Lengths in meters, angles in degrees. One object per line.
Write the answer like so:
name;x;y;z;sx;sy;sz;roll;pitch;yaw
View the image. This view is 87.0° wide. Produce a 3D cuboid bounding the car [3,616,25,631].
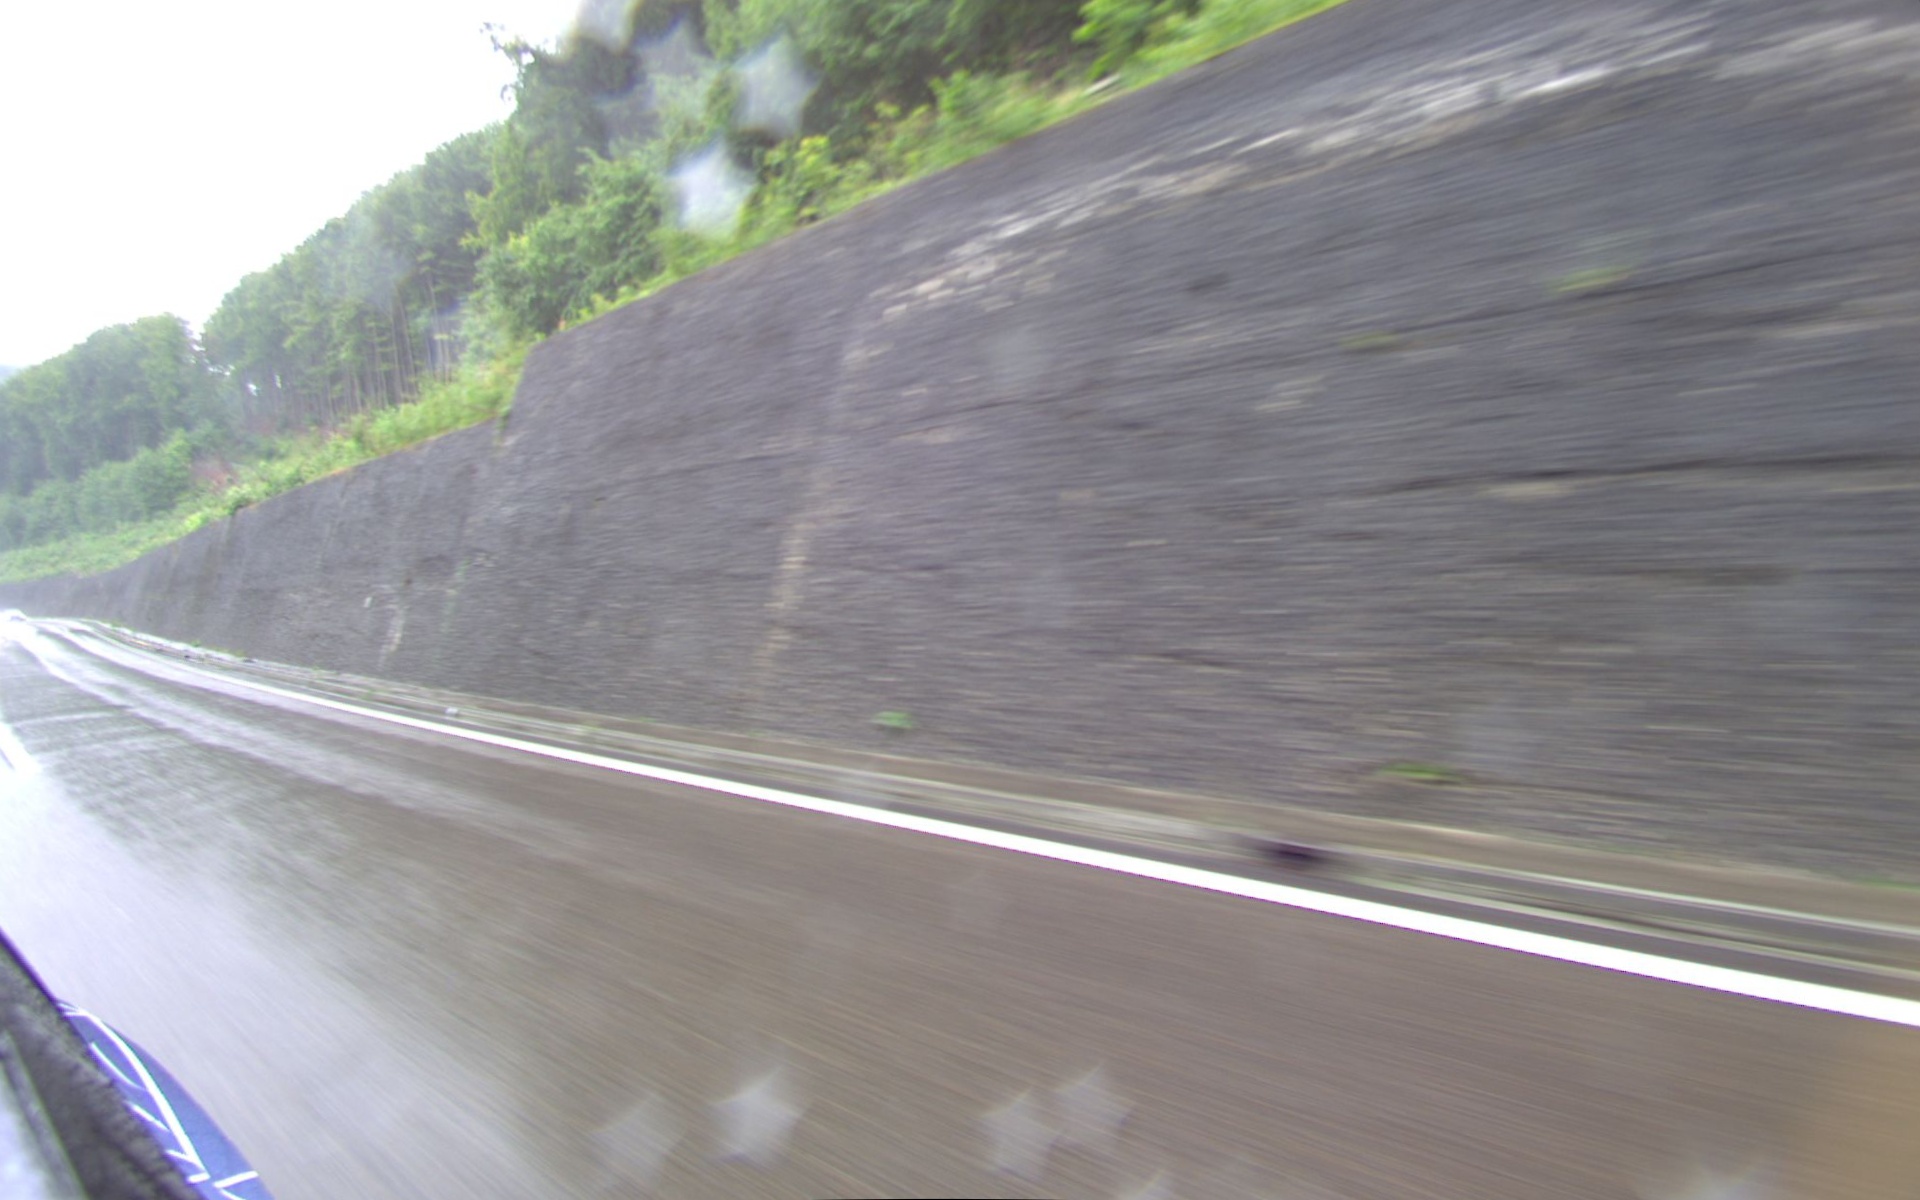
car;-110.555;2.725;118.265;1.712;1.678;3.871;-1;0;-42
